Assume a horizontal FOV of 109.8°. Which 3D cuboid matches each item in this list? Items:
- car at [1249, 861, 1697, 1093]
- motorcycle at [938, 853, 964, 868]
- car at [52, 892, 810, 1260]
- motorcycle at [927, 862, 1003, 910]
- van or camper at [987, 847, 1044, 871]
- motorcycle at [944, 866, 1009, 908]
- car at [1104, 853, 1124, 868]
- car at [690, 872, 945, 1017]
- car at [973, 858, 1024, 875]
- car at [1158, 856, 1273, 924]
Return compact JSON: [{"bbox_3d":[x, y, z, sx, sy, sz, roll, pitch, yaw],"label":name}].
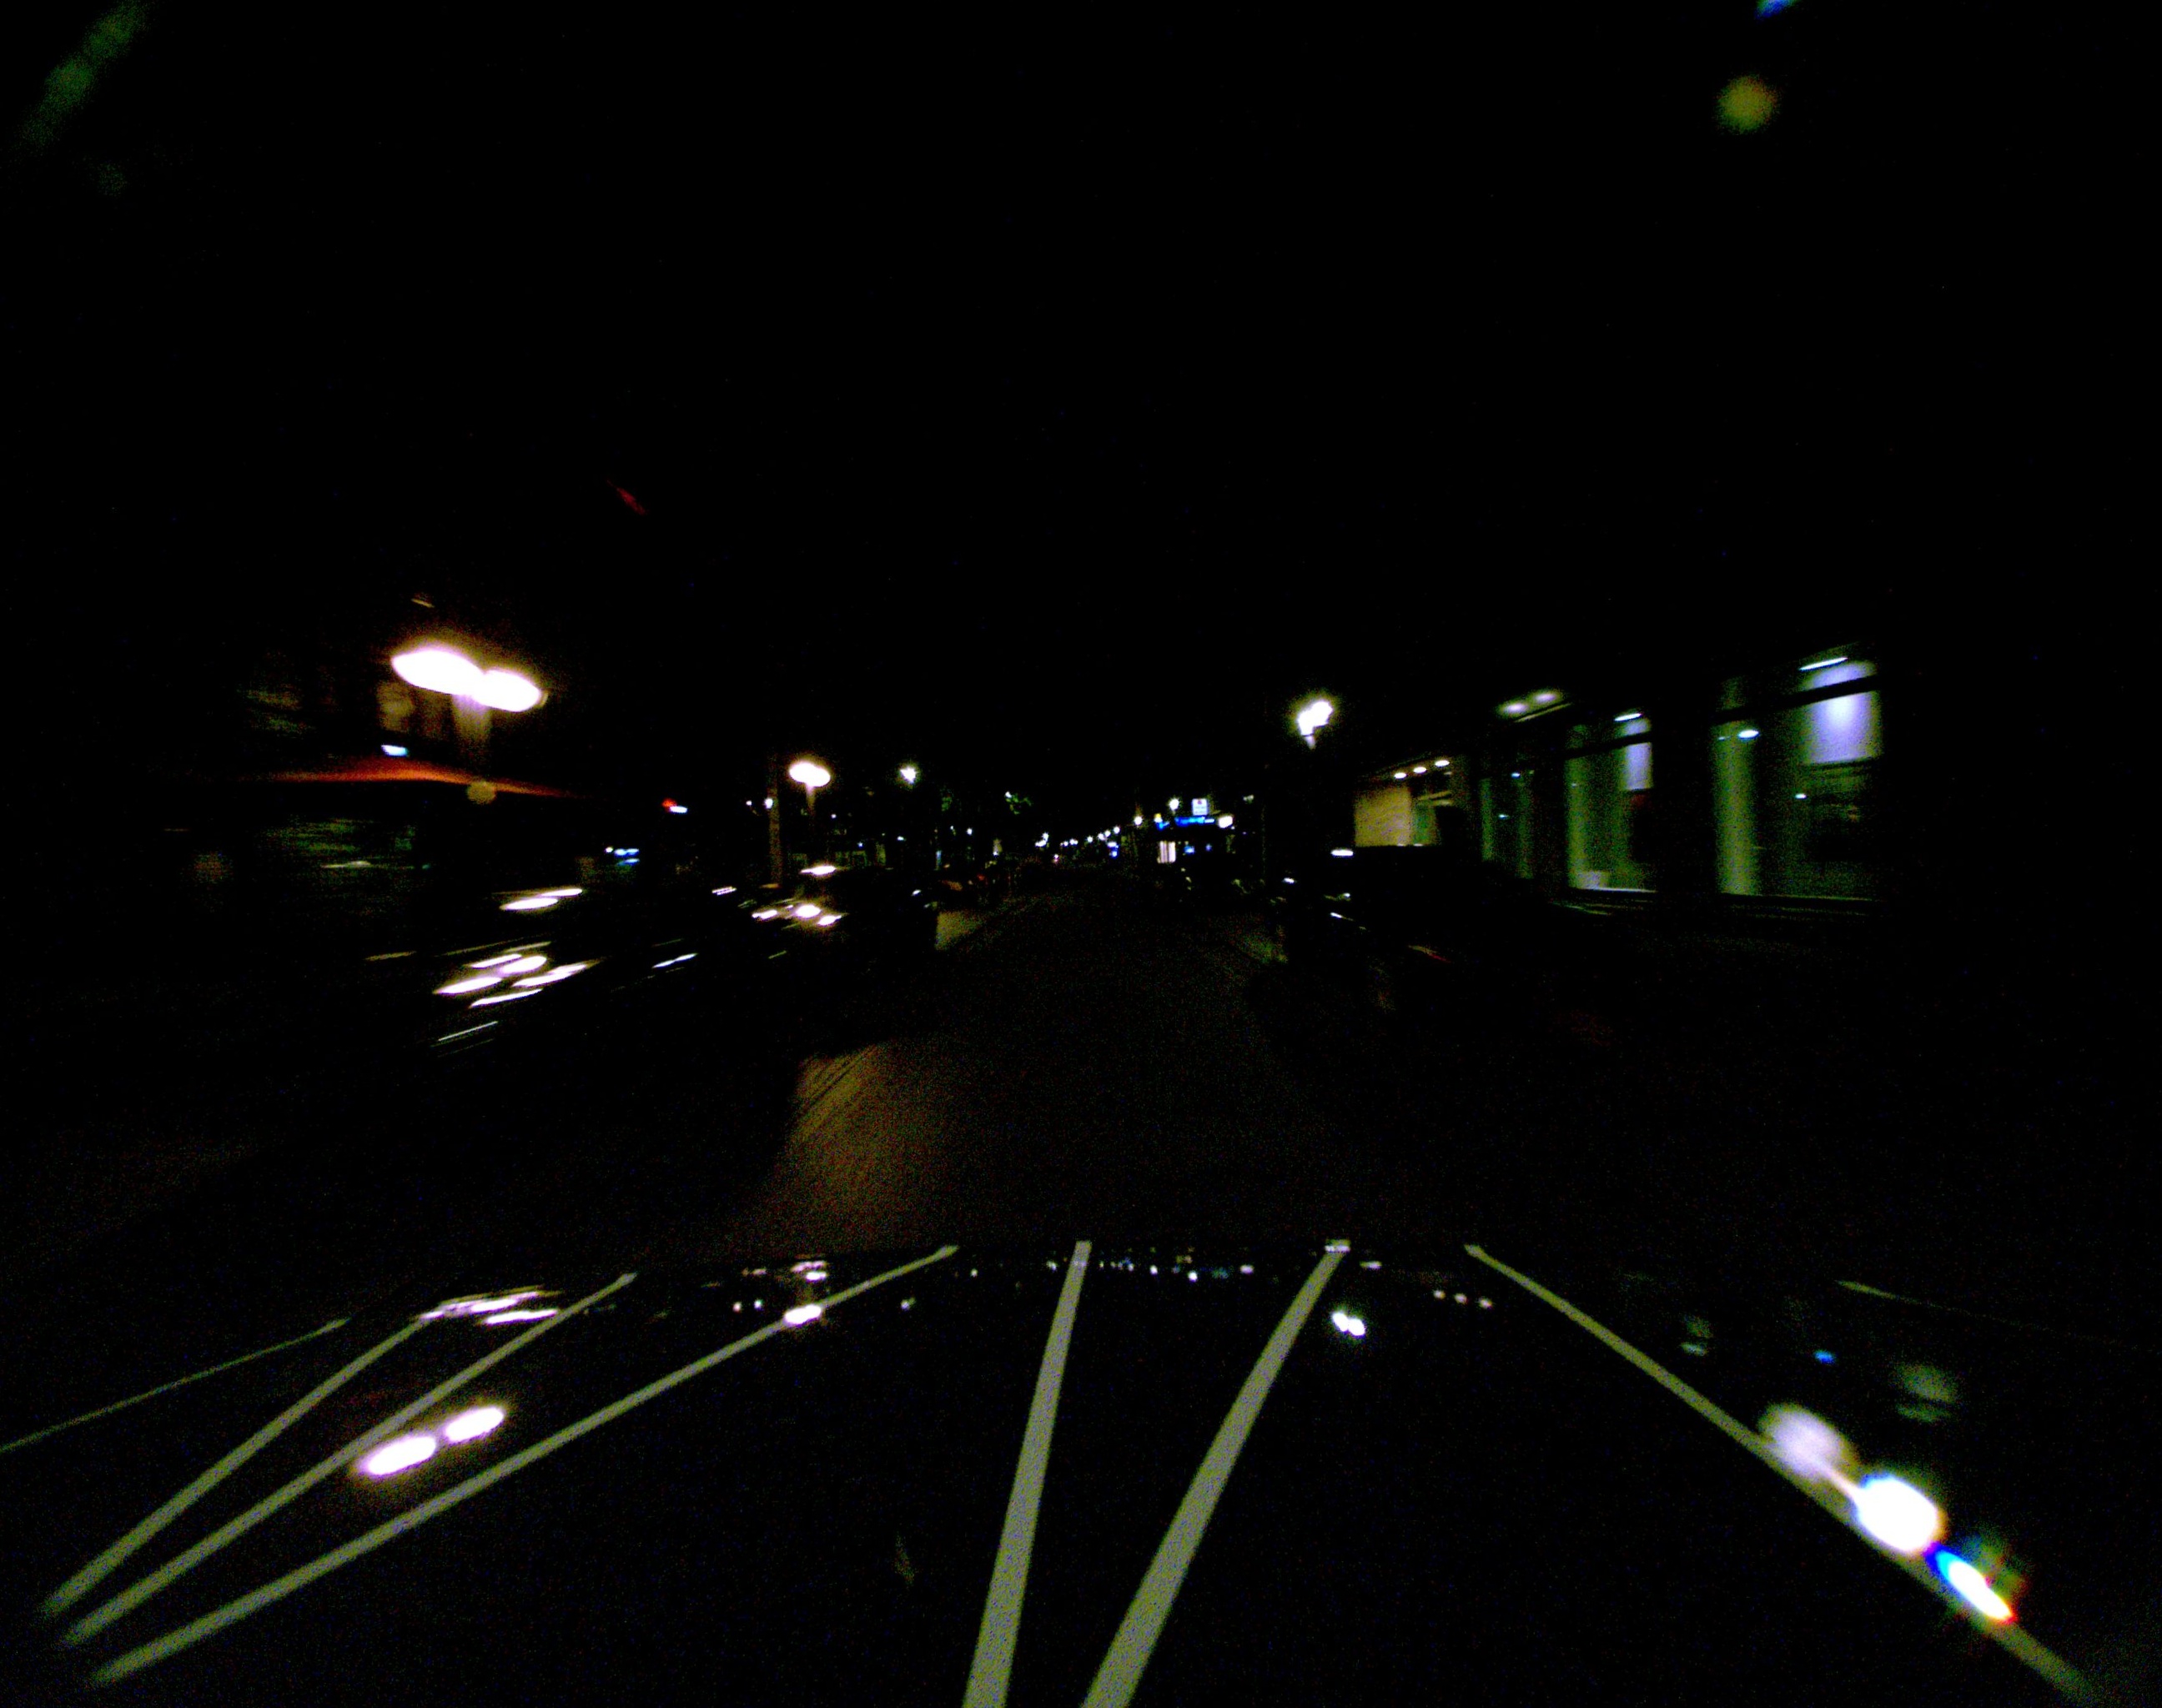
[{"bbox_3d":[3.224,0.863,7.545,1.850,1.455,4.622,-3,0,-2],"label":"car"},{"bbox_3d":[-11.328,0.589,66.330,2.226,1.263,0.531,-2,0,-43],"label":"motorcycle"},{"bbox_3d":[-3.576,1.063,5.355,1.665,1.369,4.104,0,0,3],"label":"car"},{"bbox_3d":[-3.531,0.959,23.086,2.266,1.383,0.662,-1,1,25],"label":"motorcycle"},{"bbox_3d":[-7.373,0.548,85.920,6.061,2.518,2.158,-2,0,-31],"label":"van or camper"},{"bbox_3d":[-3.343,1.036,24.217,2.165,1.290,0.516,-1,1,29],"label":"motorcycle"},{"bbox_3d":[3.385,0.672,78.330,1.655,1.417,4.014,-4,0,-2],"label":"car"},{"bbox_3d":[-3.271,1.038,10.493,1.757,1.455,4.467,0,0,3],"label":"car"},{"bbox_3d":[-7.799,1.156,71.735,4.555,1.447,1.633,-2,0,-36],"label":"car"},{"bbox_3d":[3.286,0.813,19.467,1.905,1.461,4.524,-2,0,-2],"label":"car"}]
